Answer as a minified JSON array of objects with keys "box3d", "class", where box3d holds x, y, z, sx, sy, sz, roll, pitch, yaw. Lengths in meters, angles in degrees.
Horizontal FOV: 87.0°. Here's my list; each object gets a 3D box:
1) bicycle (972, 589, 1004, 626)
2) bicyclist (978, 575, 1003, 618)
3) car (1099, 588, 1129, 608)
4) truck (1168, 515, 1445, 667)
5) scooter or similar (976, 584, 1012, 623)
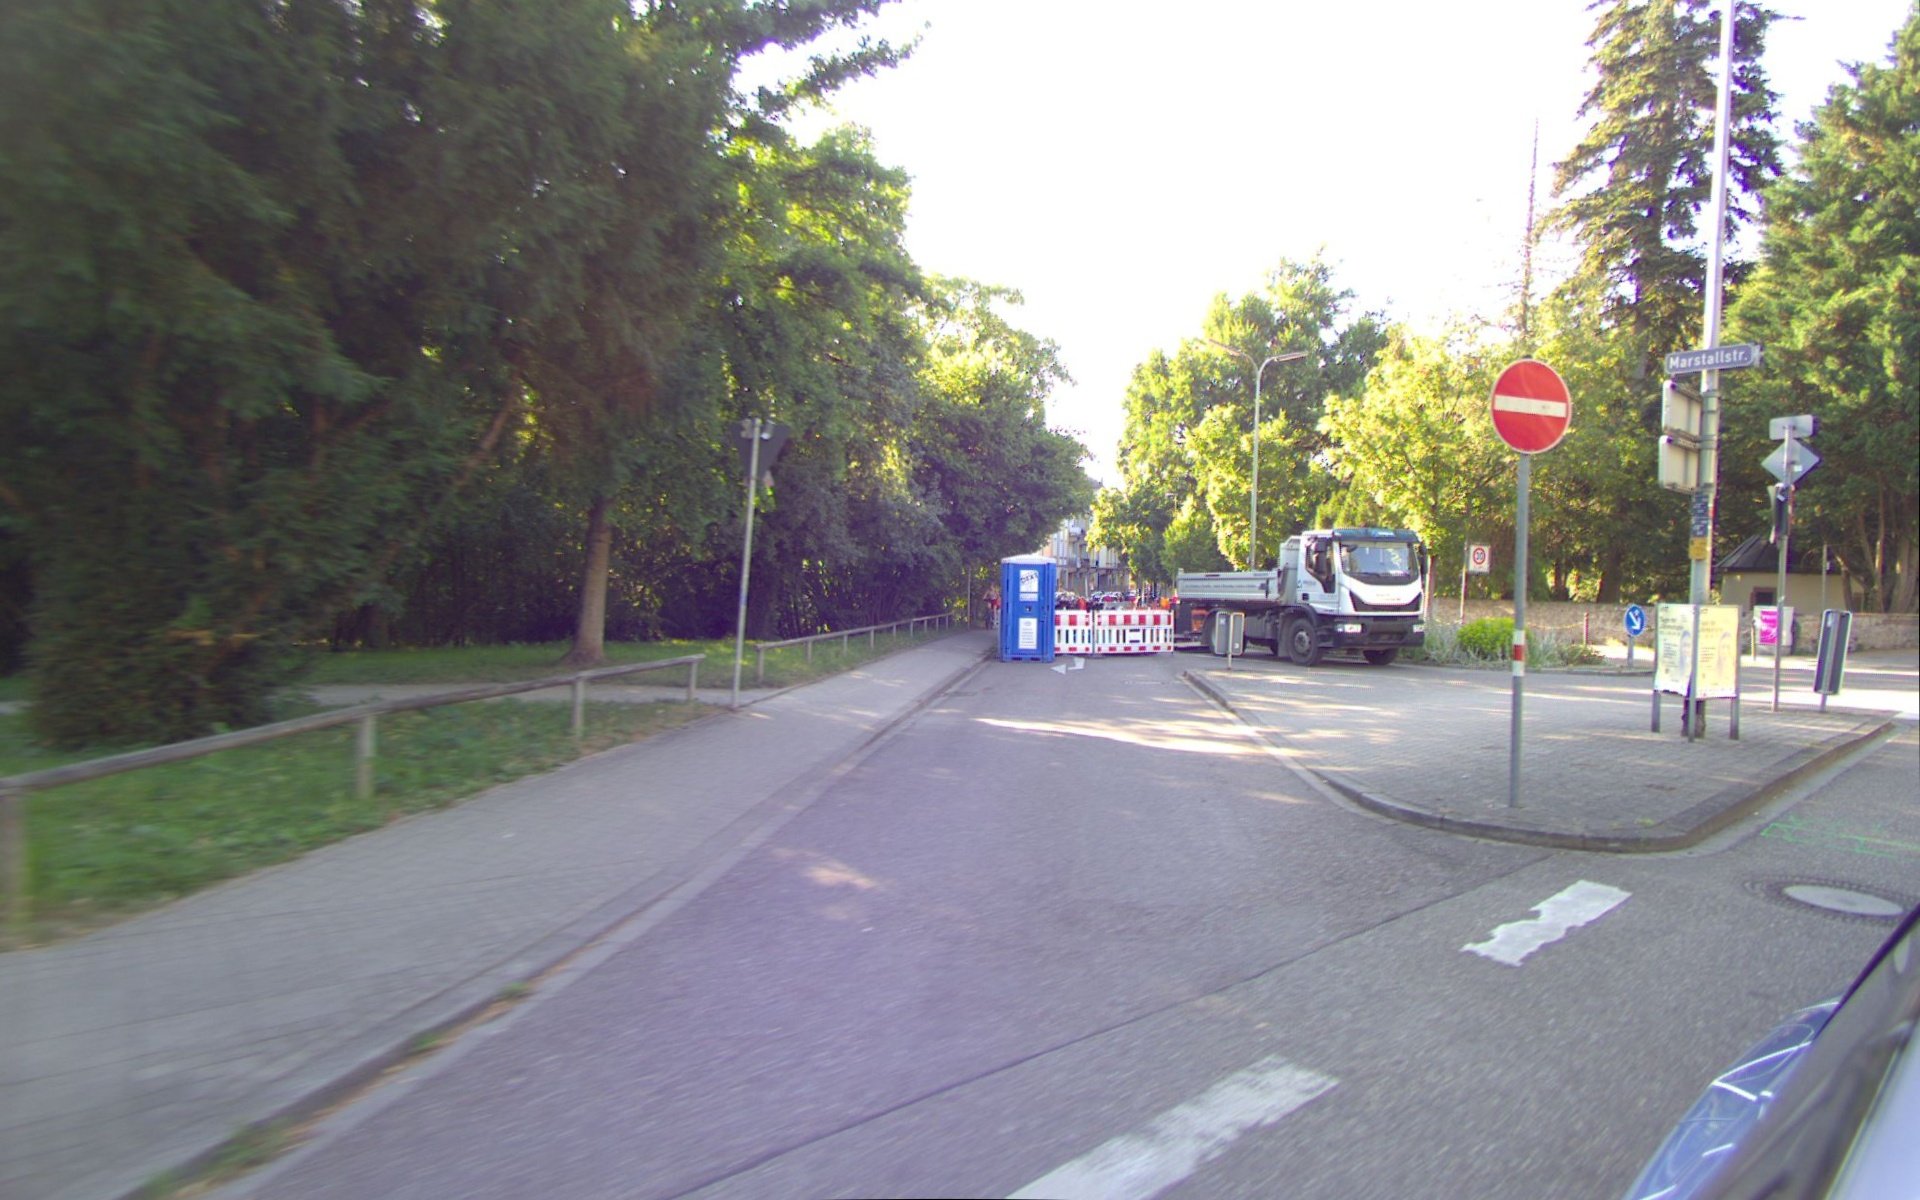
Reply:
[{"box3d":[1.056,0.253,36.843,0.751,1.222,2.835,6,1,8],"class":"bicycle"},{"box3d":[1.119,-0.135,37.089,0.748,1.503,0.642,5,1,8],"class":"bicyclist"},{"box3d":[12.274,-0.167,80.706,1.804,1.542,3.913,1,1,1],"class":"car"},{"box3d":[7.503,-0.205,23.012,2.382,2.931,6.623,1,0,-19],"class":"truck"},{"box3d":[1.312,0.124,38.830,1.135,1.341,1.179,7,1,8],"class":"scooter or similar"}]
